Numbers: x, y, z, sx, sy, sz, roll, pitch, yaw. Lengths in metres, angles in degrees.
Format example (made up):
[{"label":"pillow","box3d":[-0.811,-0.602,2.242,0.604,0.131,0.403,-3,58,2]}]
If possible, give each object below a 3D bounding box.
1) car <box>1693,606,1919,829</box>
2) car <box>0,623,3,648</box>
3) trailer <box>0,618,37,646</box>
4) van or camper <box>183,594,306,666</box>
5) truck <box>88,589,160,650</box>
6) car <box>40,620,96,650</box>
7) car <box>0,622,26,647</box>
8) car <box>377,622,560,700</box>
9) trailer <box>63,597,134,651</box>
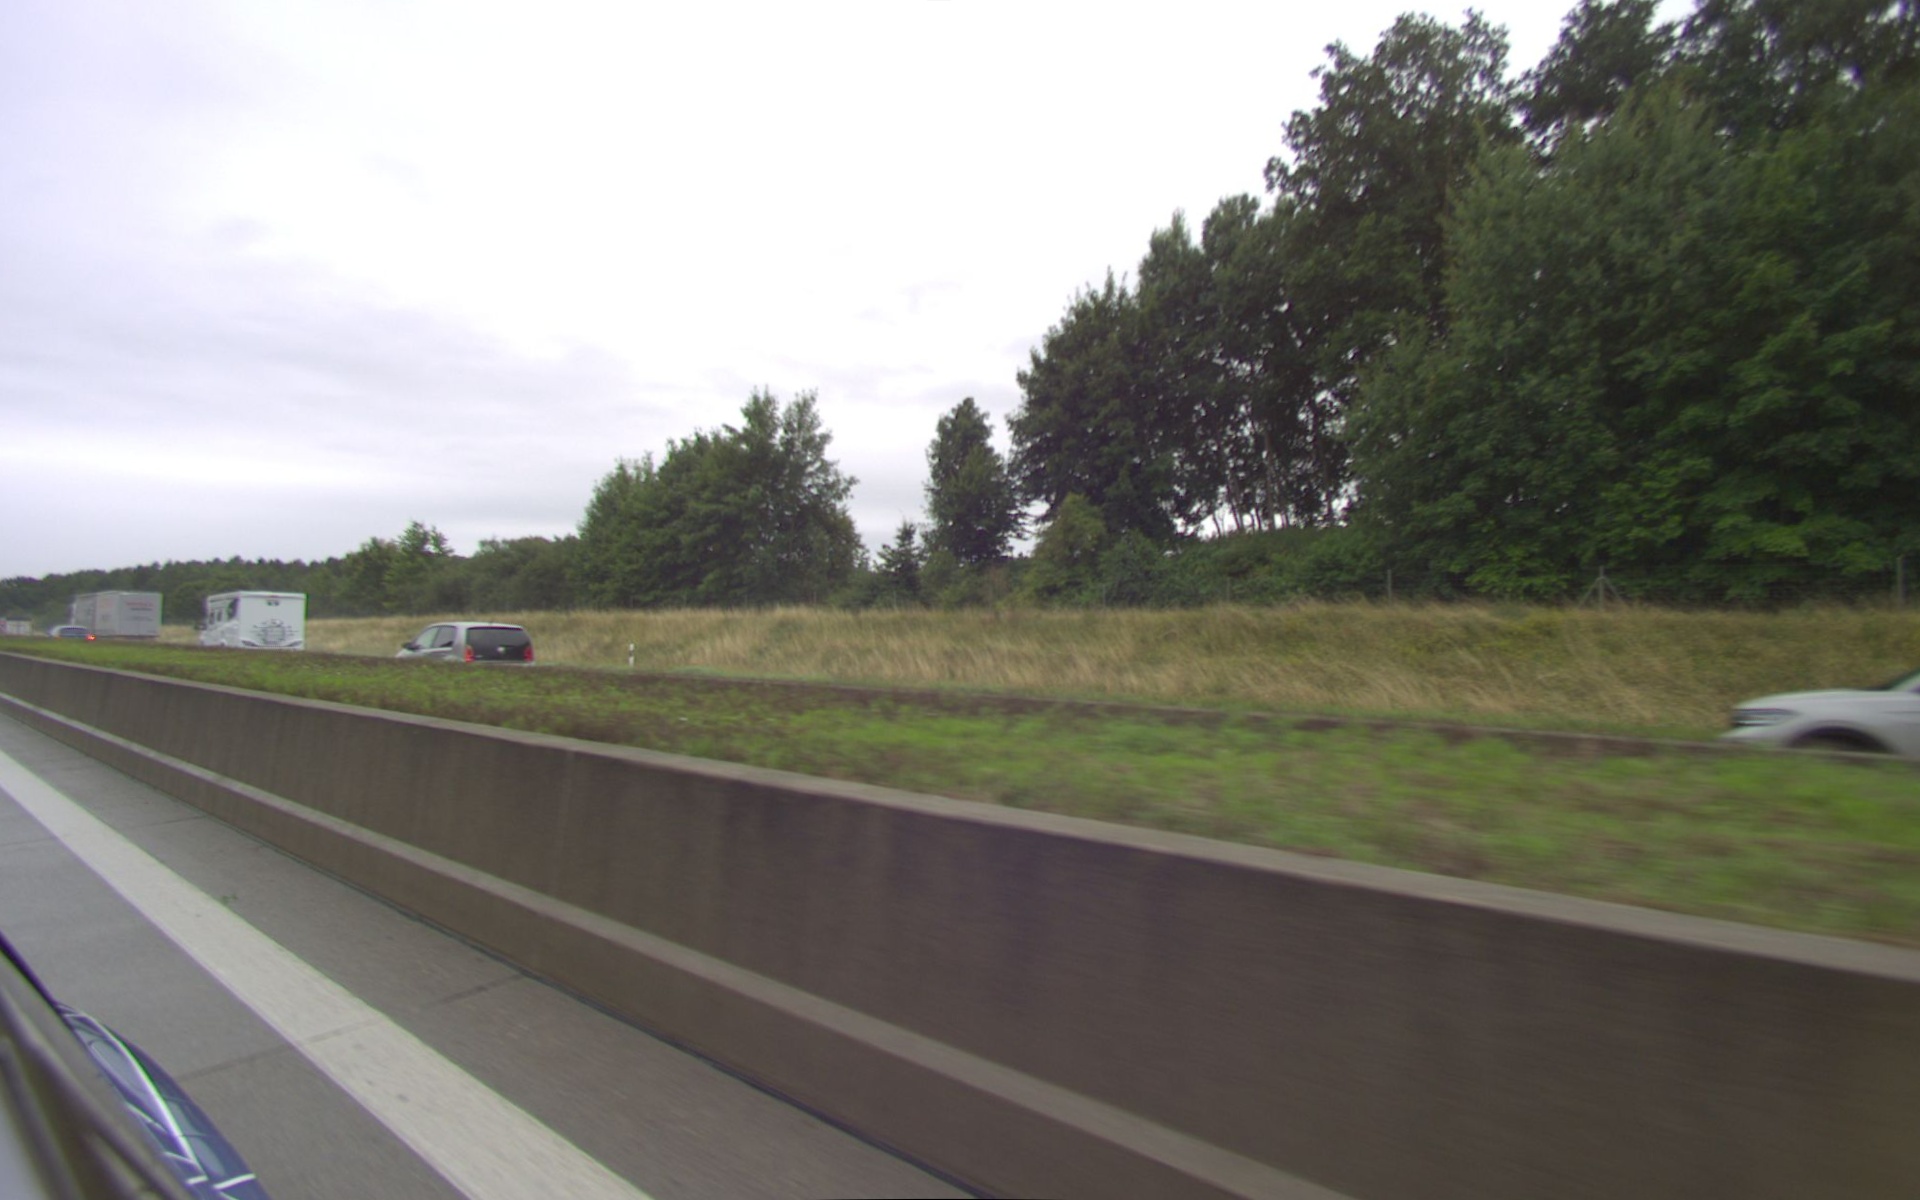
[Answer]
[{"label":"car","box3d":[8.555,0.902,7.701,4.685,1.678,1.860,-1,-3,41]},{"label":"car","box3d":[-68.559,2.480,70.924,4.452,1.699,1.742,-1,-2,41]},{"label":"trailer","box3d":[-81.120,2.734,86.920,5.830,2.391,2.017,-1,-2,41]},{"label":"van or camper","box3d":[-30.236,1.225,42.632,7.709,2.756,2.387,-1,-2,41]},{"label":"truck","box3d":[-61.423,1.487,74.277,8.587,4.172,2.557,-2,-4,41]},{"label":"car","box3d":[-47.921,1.864,54.350,4.463,1.528,1.646,-2,-2,41]},{"label":"car","box3d":[-85.290,3.078,90.498,5.204,2.197,1.973,-1,-3,41]},{"label":"car","box3d":[-9.576,1.125,19.589,4.097,1.344,1.720,-2,-2,41]},{"label":"trailer","box3d":[-68.610,1.987,80.505,10.368,4.078,2.559,-2,-4,41]}]
